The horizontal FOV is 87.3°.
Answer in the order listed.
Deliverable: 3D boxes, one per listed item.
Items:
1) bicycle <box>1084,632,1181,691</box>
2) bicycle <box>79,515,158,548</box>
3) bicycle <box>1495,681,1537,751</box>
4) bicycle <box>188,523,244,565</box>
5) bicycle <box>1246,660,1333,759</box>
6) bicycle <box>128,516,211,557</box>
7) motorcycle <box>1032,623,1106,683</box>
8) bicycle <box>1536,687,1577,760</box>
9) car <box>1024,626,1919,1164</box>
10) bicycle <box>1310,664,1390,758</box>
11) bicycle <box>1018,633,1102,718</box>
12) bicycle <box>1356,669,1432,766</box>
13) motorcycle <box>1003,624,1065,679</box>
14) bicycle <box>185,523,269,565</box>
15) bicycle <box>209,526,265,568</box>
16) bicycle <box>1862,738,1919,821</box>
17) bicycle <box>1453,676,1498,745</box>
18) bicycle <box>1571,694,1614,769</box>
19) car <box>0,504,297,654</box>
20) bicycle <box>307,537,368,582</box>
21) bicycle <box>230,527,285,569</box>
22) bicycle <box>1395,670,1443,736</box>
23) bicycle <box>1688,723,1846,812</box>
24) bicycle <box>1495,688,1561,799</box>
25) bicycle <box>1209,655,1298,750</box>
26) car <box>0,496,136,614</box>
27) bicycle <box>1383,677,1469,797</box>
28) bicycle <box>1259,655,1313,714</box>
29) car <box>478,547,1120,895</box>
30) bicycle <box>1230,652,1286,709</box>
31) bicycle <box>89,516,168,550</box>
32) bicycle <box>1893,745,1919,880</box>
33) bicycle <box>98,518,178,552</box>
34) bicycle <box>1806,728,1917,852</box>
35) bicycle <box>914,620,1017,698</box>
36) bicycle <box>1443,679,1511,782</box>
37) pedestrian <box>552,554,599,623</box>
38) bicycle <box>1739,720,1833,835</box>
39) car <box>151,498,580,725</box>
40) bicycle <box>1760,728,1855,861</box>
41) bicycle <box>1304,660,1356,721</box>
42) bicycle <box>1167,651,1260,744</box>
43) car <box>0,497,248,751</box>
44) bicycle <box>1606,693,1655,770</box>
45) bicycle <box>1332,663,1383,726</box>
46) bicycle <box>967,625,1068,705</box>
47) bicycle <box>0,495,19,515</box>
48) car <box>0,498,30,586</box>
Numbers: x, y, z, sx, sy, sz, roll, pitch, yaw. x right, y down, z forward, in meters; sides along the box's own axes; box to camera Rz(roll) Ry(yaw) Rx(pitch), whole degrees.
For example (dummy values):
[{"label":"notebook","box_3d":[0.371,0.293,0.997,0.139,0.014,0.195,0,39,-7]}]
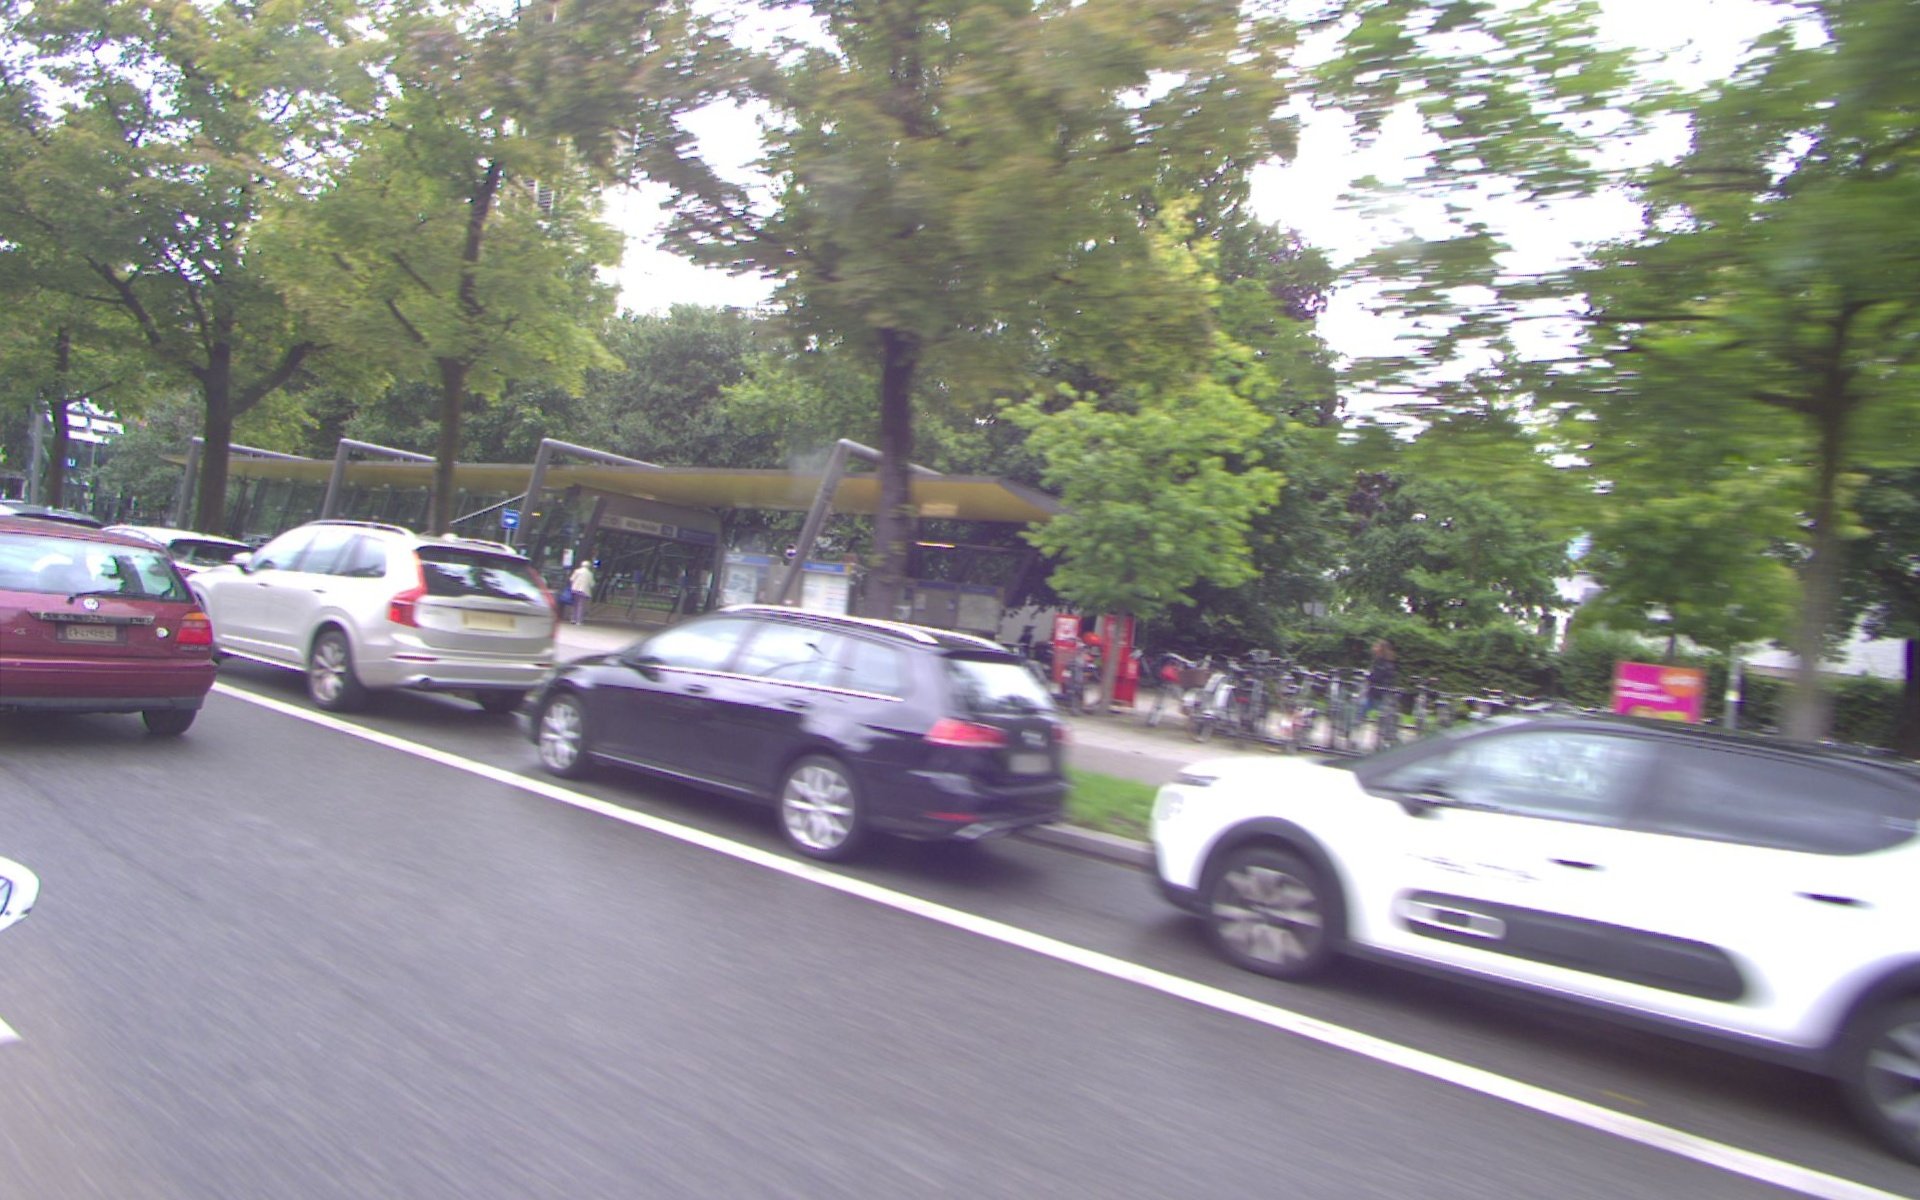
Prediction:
[{"label":"bicycle","box_3d":[4.298,1.523,25.189,2.309,1.173,0.527,7,3,35]},{"label":"bicycle","box_3d":[-37.297,-3.013,44.607,0.636,1.102,2.545,6,-1,31]},{"label":"bicycle","box_3d":[10.957,2.243,19.791,0.520,1.173,2.339,7,2,31]},{"label":"bicycle","box_3d":[-26.610,-2.014,35.971,2.508,1.296,0.646,6,0,32]},{"label":"bicycle","box_3d":[4.603,1.462,13.944,0.520,1.173,2.339,7,2,31]},{"label":"bicycle","box_3d":[-32.497,-2.593,41.411,0.636,1.296,2.545,6,-1,31]},{"label":"motorcycle","box_3d":[2.548,1.239,23.719,0.652,1.192,1.798,6,0,-32]},{"label":"bicycle","box_3d":[11.464,2.337,19.331,0.520,1.173,2.339,7,2,31]},{"label":"car","box_3d":[2.703,1.187,5.141,4.308,1.566,1.715,6,-1,31]},{"label":"bicycle","box_3d":[5.737,1.573,14.721,0.575,1.173,2.339,7,2,31]},{"label":"bicycle","box_3d":[1.611,1.132,15.803,0.519,1.173,2.343,7,2,23]},{"label":"bicycle","box_3d":[6.245,1.630,14.408,0.575,1.173,2.339,7,2,31]},{"label":"motorcycle","box_3d":[1.699,1.181,23.422,0.649,1.075,1.805,7,0,-20]},{"label":"bicycle","box_3d":[-28.811,-2.188,39.591,0.636,1.296,2.545,6,-1,31]},{"label":"bicycle","box_3d":[-26.281,-1.948,36.561,2.508,1.296,0.646,6,0,32]},{"label":"bicycle","box_3d":[15.118,2.844,15.187,0.707,1.167,2.123,7,-1,-13]},{"label":"bicycle","box_3d":[10.318,2.168,20.103,0.520,1.173,2.339,7,2,31]},{"label":"bicycle","box_3d":[11.917,2.445,18.982,0.520,1.173,2.339,7,2,31]},{"label":"car","box_3d":[-11.169,-0.311,13.700,4.428,1.526,1.705,6,-1,31]},{"label":"bicycle","box_3d":[-21.388,-1.404,34.550,2.508,1.296,0.646,6,0,32]},{"label":"bicycle","box_3d":[-25.941,-1.933,37.140,2.508,1.296,0.646,6,0,32]},{"label":"bicycle","box_3d":[9.428,2.069,20.631,0.520,1.173,2.339,7,2,31]},{"label":"bicycle","box_3d":[14.173,2.913,17.760,0.706,1.167,2.125,7,-1,-11]},{"label":"bicycle","box_3d":[7.475,1.814,13.188,0.575,1.173,2.339,7,2,31]},{"label":"bicycle","box_3d":[4.219,1.415,14.352,0.520,1.173,2.339,7,2,31]},{"label":"car","box_3d":[-15.166,-0.838,16.030,4.326,1.552,1.723,6,-2,32]},{"label":"bicycle","box_3d":[5.652,1.583,12.132,0.575,1.173,2.339,7,2,31]},{"label":"bicycle","box_3d":[7.338,1.859,22.542,0.520,1.173,2.339,7,2,31]},{"label":"car","box_3d":[-1.357,0.662,7.390,4.568,1.566,1.749,7,-1,34]},{"label":"bicycle","box_3d":[6.783,1.795,22.828,0.520,1.173,2.339,7,2,31]},{"label":"bicycle","box_3d":[-36.300,-2.902,43.950,0.636,1.102,2.545,6,-1,31]},{"label":"bicycle","box_3d":[9.647,2.083,9.852,0.559,1.157,1.803,7,1,40]},{"label":"bicycle","box_3d":[-35.410,-2.803,43.396,0.636,1.102,2.545,6,-1,31]},{"label":"bicycle","box_3d":[10.453,2.159,11.725,0.558,1.157,1.807,6,1,32]},{"label":"bicycle","box_3d":[0.132,0.978,17.020,0.520,1.173,2.339,7,2,31]},{"label":"bicycle","box_3d":[7.218,1.756,13.986,0.575,1.173,2.339,7,2,31]},{"label":"pedestrian","box_3d":[-9.118,-0.275,23.844,0.681,1.531,0.580,7,0,13]},{"label":"bicycle","box_3d":[10.157,2.138,12.423,0.558,1.157,1.807,6,1,32]},{"label":"car","box_3d":[-6.392,0.050,10.620,4.825,1.744,1.750,7,-1,32]},{"label":"bicycle","box_3d":[9.048,2.029,10.792,0.559,1.157,1.805,7,1,37]},{"label":"bicycle","box_3d":[8.043,1.926,21.808,0.520,1.173,2.339,7,2,31]},{"label":"bicycle","box_3d":[3.702,1.361,14.537,0.520,1.173,2.339,7,2,31]},{"label":"car","box_3d":[-7.000,-0.003,7.183,3.884,1.471,1.624,6,-1,31]},{"label":"bicycle","box_3d":[12.413,2.396,18.663,0.520,1.173,2.339,7,2,31]},{"label":"bicycle","box_3d":[8.502,1.974,21.444,0.520,1.173,2.339,7,2,31]},{"label":"bicycle","box_3d":[0.980,1.034,16.480,0.520,1.173,2.339,7,2,31]},{"label":"bicycle","box_3d":[-80.908,-8.091,84.439,0.783,1.526,2.619,6,-1,18]},{"label":"car","box_3d":[-19.387,-1.310,18.962,4.023,1.551,1.546,6,-4,32]}]
